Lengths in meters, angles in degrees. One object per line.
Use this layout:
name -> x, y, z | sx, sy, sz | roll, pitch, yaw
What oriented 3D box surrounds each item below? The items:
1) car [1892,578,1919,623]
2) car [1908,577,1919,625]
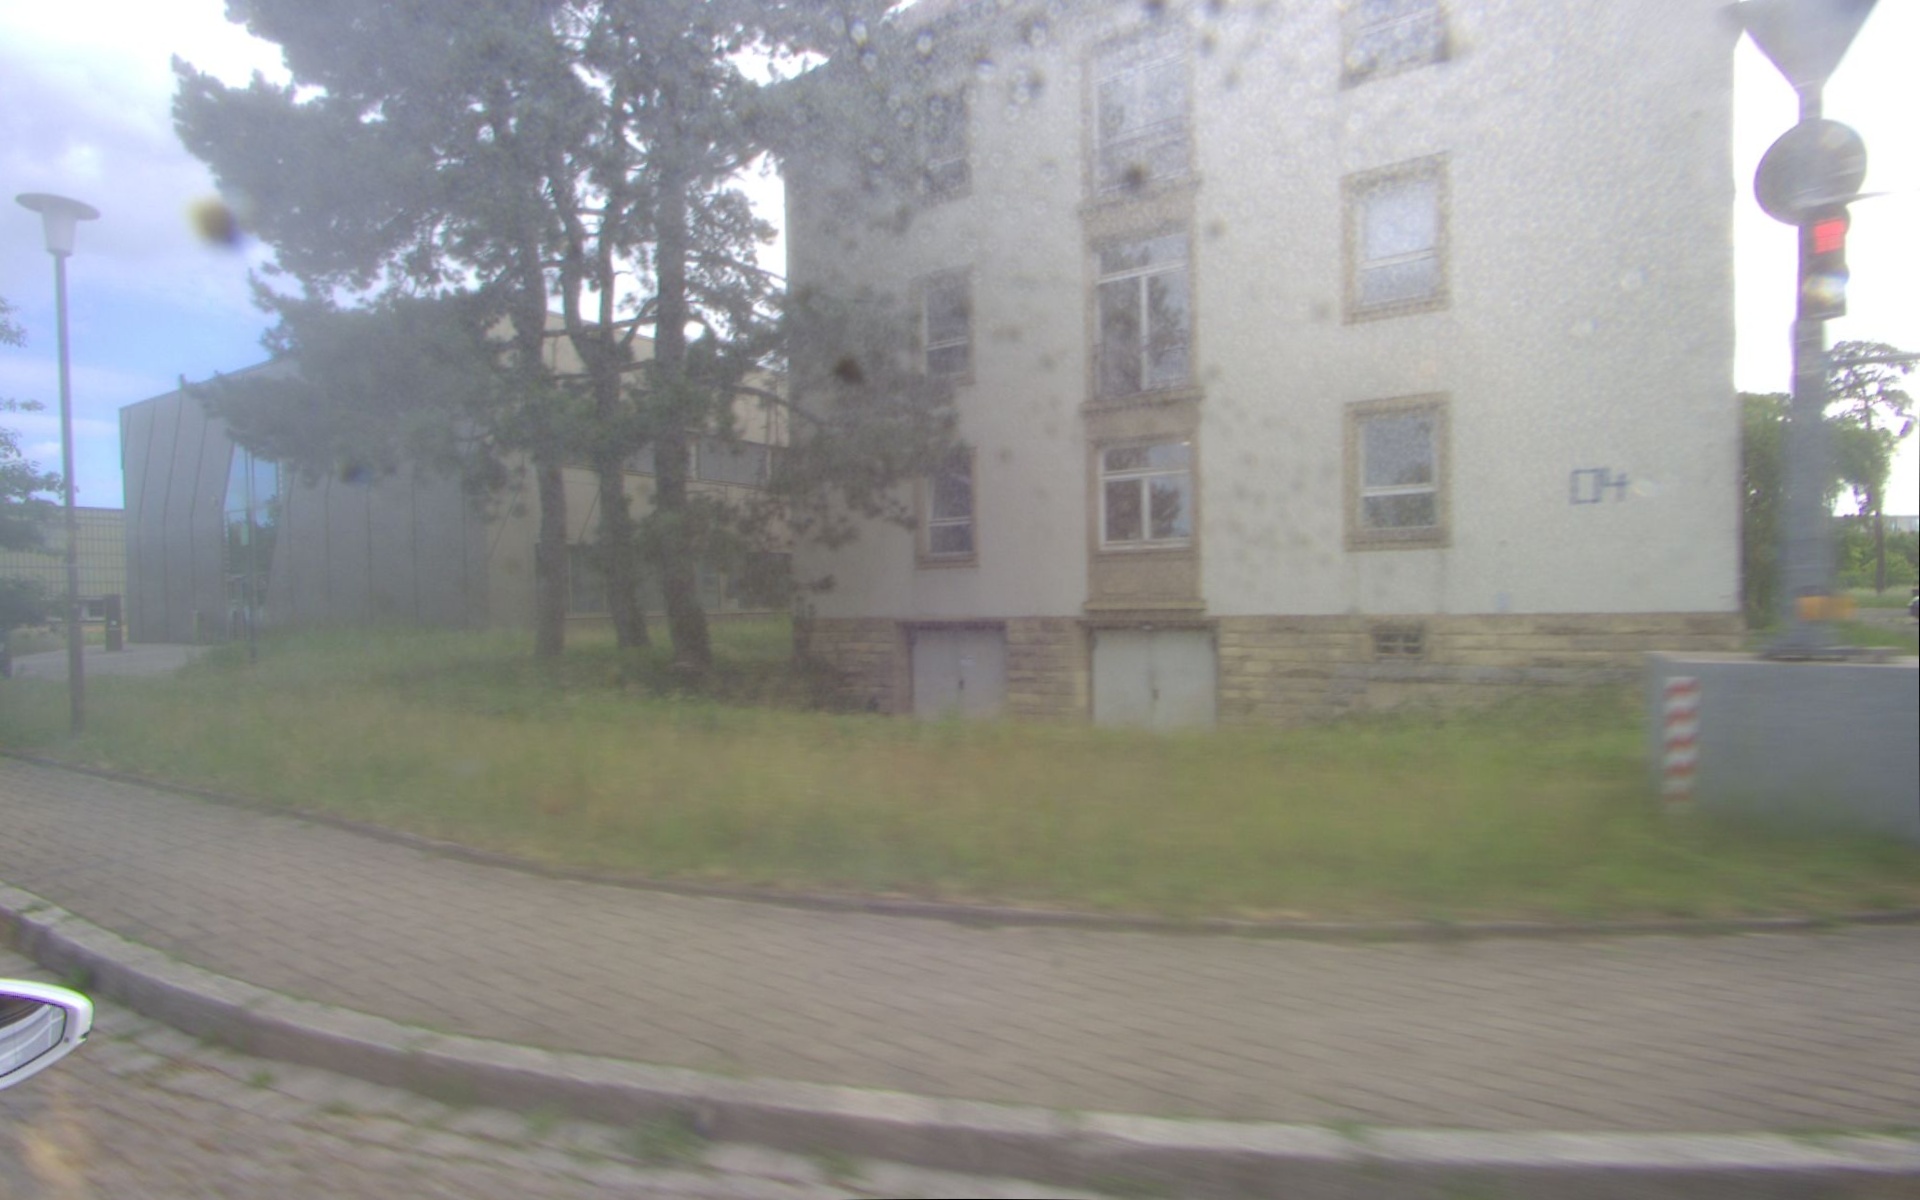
car -> 39.937, -0.006, 39.786 | 3.987, 1.823, 1.672 | -1, 0, 32
car -> 38.590, -0.001, 37.674 | 3.987, 1.823, 1.672 | -1, 0, 32
